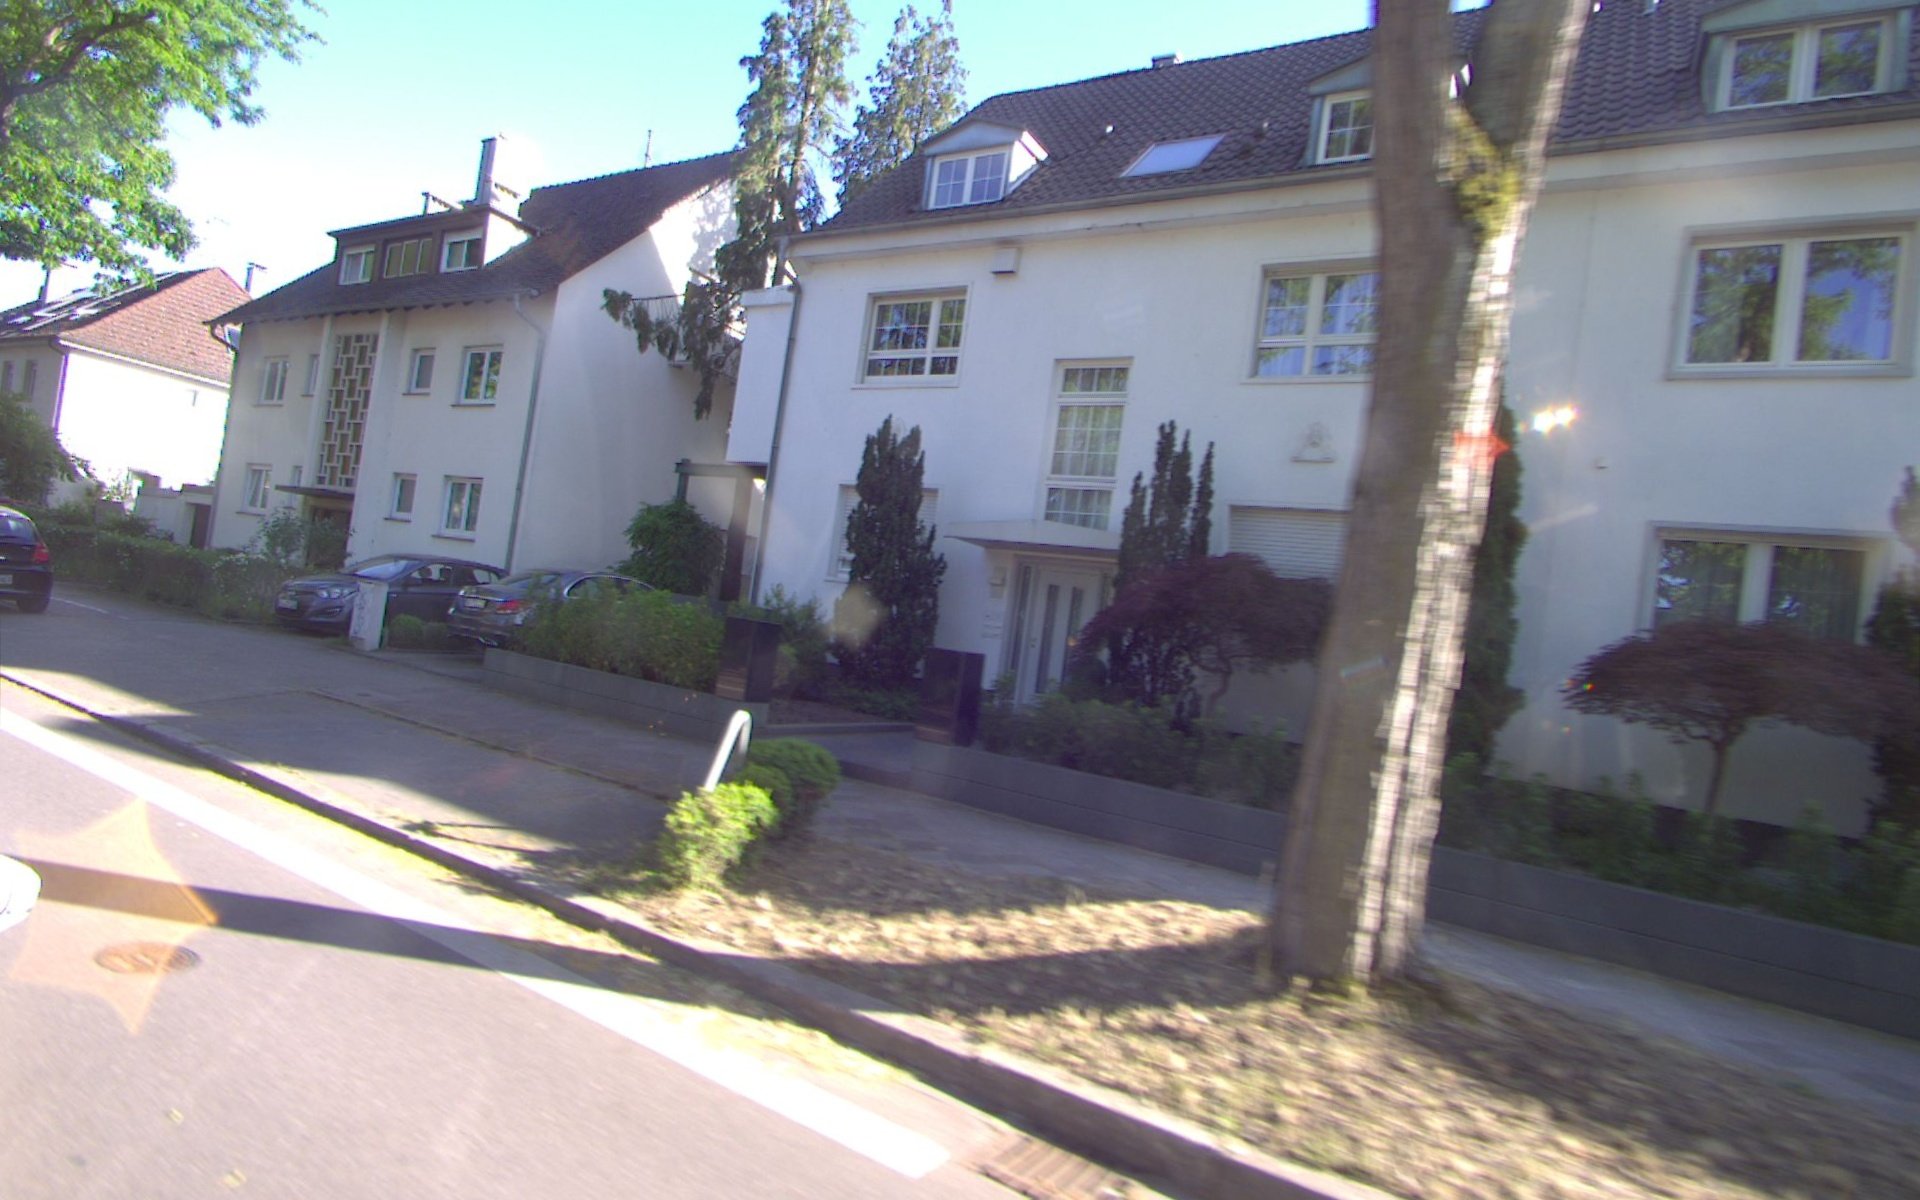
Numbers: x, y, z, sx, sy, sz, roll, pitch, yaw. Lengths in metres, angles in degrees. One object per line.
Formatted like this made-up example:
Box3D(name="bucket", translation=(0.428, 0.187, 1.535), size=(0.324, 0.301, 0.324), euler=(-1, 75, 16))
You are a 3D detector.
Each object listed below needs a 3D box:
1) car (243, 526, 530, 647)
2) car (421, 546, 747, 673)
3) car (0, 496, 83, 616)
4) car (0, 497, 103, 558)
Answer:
Box3D(name="car", translation=(-9.423, -0.147, 16.862), size=(1.709, 1.507, 3.749), euler=(7, -1, 26))
Box3D(name="car", translation=(-5.649, 0.239, 15.679), size=(1.828, 1.508, 4.424), euler=(7, 0, 34))
Box3D(name="car", translation=(-14.283, -0.798, 14.003), size=(4.228, 1.466, 1.786), euler=(7, 1, 30))
Box3D(name="car", translation=(-27.335, -2.188, 29.076), size=(1.702, 1.453, 3.410), euler=(7, -1, 19))
